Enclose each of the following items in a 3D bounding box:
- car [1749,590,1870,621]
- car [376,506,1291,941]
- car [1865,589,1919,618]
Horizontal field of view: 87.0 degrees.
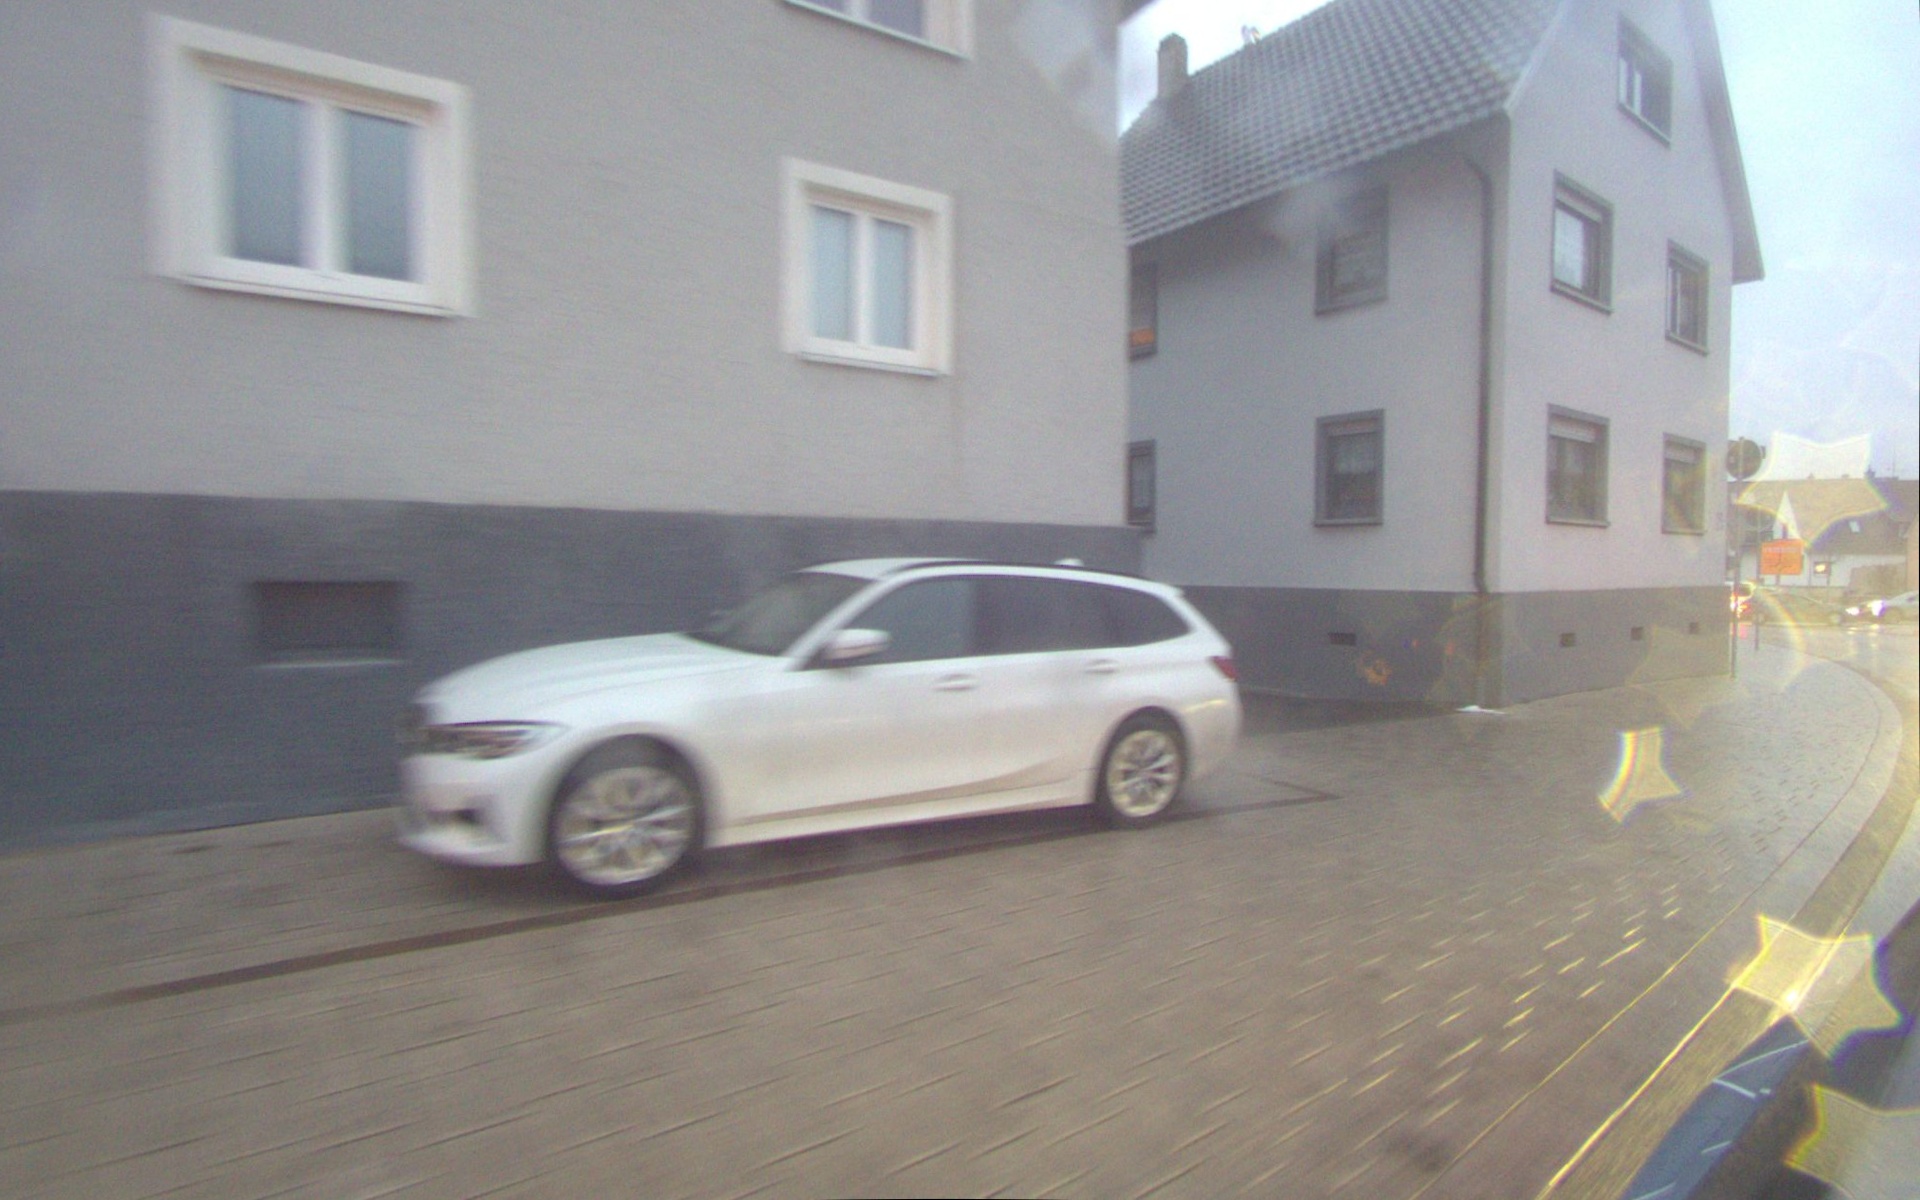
[{"bbox_3d":[37.581,0.240,44.906,3.976,1.315,1.974,0,0,37],"label":"car"},{"bbox_3d":[-0.512,0.423,5.546,4.604,1.504,1.937,0,0,-32],"label":"car"},{"bbox_3d":[44.376,0.150,46.178,4.207,1.315,1.980,0,0,29],"label":"car"}]
